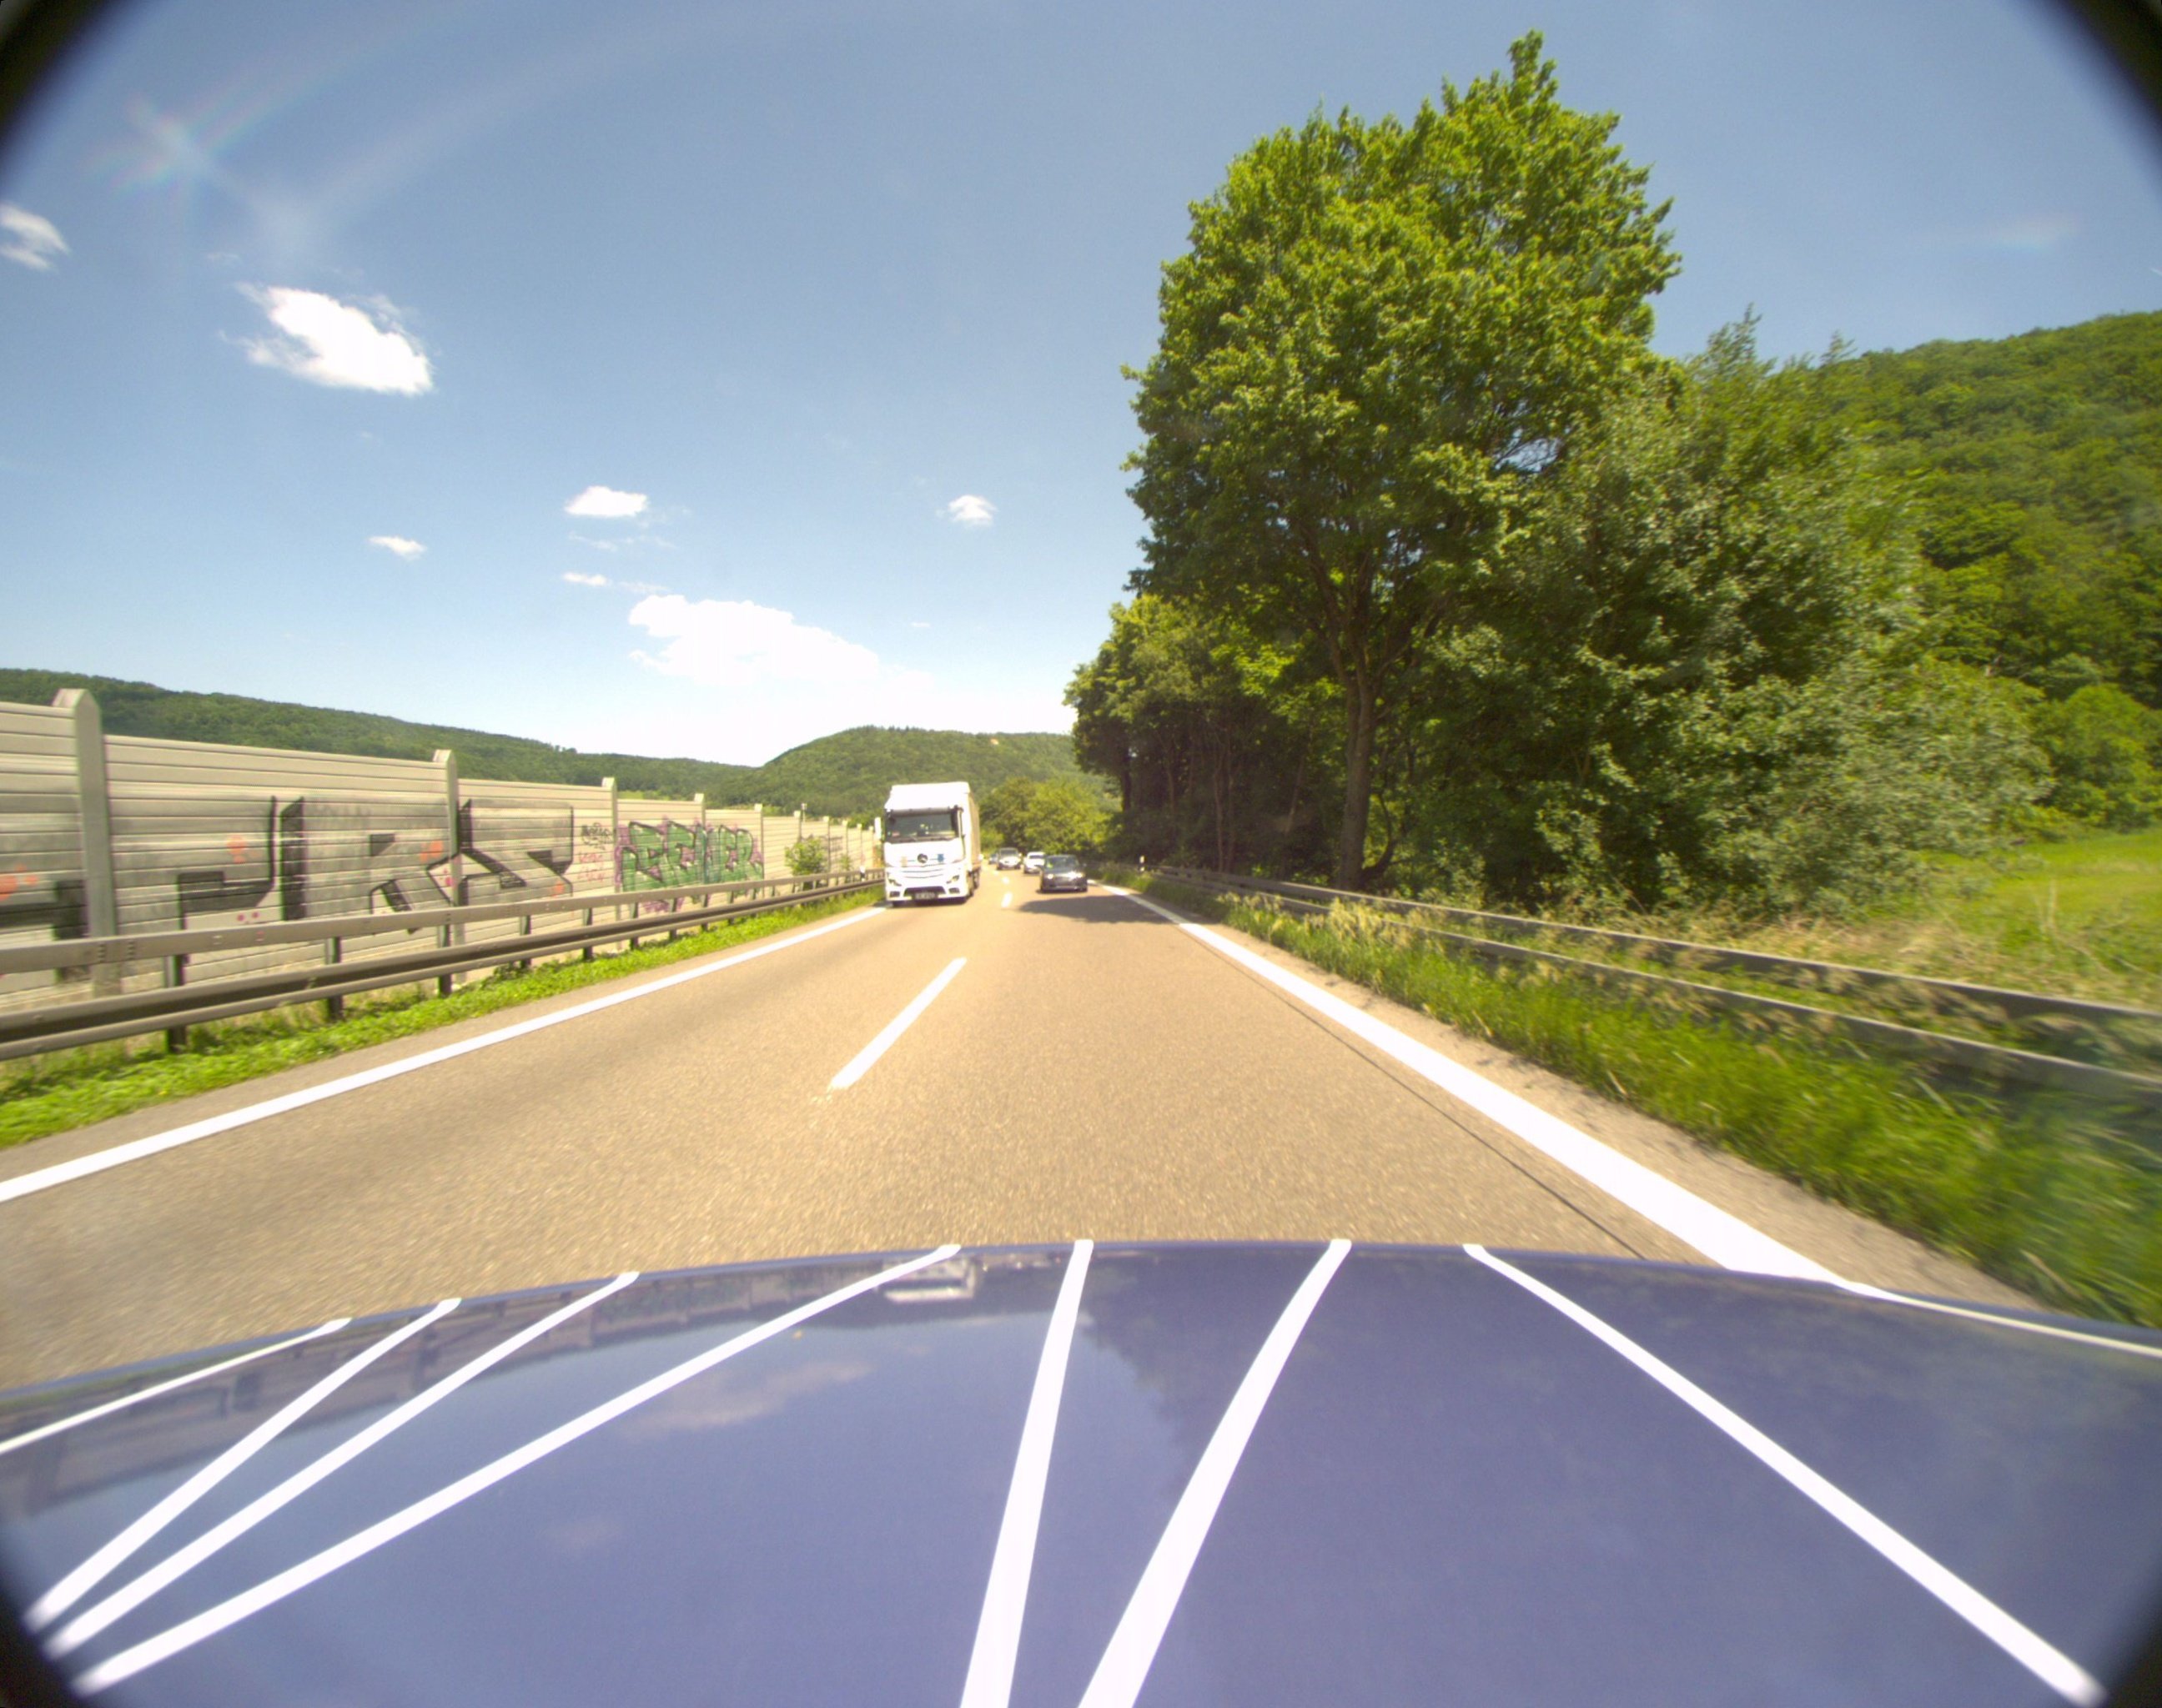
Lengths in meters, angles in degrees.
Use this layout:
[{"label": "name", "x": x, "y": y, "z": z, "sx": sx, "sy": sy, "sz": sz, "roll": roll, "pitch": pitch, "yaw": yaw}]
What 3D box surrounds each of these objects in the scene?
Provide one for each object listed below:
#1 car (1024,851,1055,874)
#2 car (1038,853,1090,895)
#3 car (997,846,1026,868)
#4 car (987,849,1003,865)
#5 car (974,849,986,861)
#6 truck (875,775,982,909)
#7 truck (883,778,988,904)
[{"label": "car", "x": -3.005, "y": 0.589, "z": 54.050, "sx": 1.717, "sy": 1.541, "sz": 3.995, "roll": 0, "pitch": 1, "yaw": -11}, {"label": "car", "x": -0.707, "y": 0.703, "z": 29.070, "sx": 1.663, "sy": 1.436, "sz": 3.472, "roll": -2, "pitch": 1, "yaw": -6}, {"label": "car", "x": -6.256, "y": 0.295, "z": 67.979, "sx": 2.045, "sy": 1.855, "sz": 3.996, "roll": -1, "pitch": 0, "yaw": -12}, {"label": "car", "x": -11.153, "y": 0.315, "z": 98.234, "sx": 2.000, "sy": 2.002, "sz": 3.997, "roll": -1, "pitch": 0, "yaw": -8}, {"label": "car", "x": -18.060, "y": 0.202, "z": 135.875, "sx": 2.000, "sy": 2.002, "sz": 3.996, "roll": -1, "pitch": 0, "yaw": -9}, {"label": "truck", "x": -5.128, "y": -0.399, "z": 26.733, "sx": 2.765, "sy": 4.015, "sz": 6.819, "roll": -2, "pitch": 1, "yaw": -5}, {"label": "truck", "x": -5.652, "y": -0.451, "z": 31.674, "sx": 2.863, "sy": 4.123, "sz": 12.041, "roll": -3, "pitch": 0, "yaw": -5}]
